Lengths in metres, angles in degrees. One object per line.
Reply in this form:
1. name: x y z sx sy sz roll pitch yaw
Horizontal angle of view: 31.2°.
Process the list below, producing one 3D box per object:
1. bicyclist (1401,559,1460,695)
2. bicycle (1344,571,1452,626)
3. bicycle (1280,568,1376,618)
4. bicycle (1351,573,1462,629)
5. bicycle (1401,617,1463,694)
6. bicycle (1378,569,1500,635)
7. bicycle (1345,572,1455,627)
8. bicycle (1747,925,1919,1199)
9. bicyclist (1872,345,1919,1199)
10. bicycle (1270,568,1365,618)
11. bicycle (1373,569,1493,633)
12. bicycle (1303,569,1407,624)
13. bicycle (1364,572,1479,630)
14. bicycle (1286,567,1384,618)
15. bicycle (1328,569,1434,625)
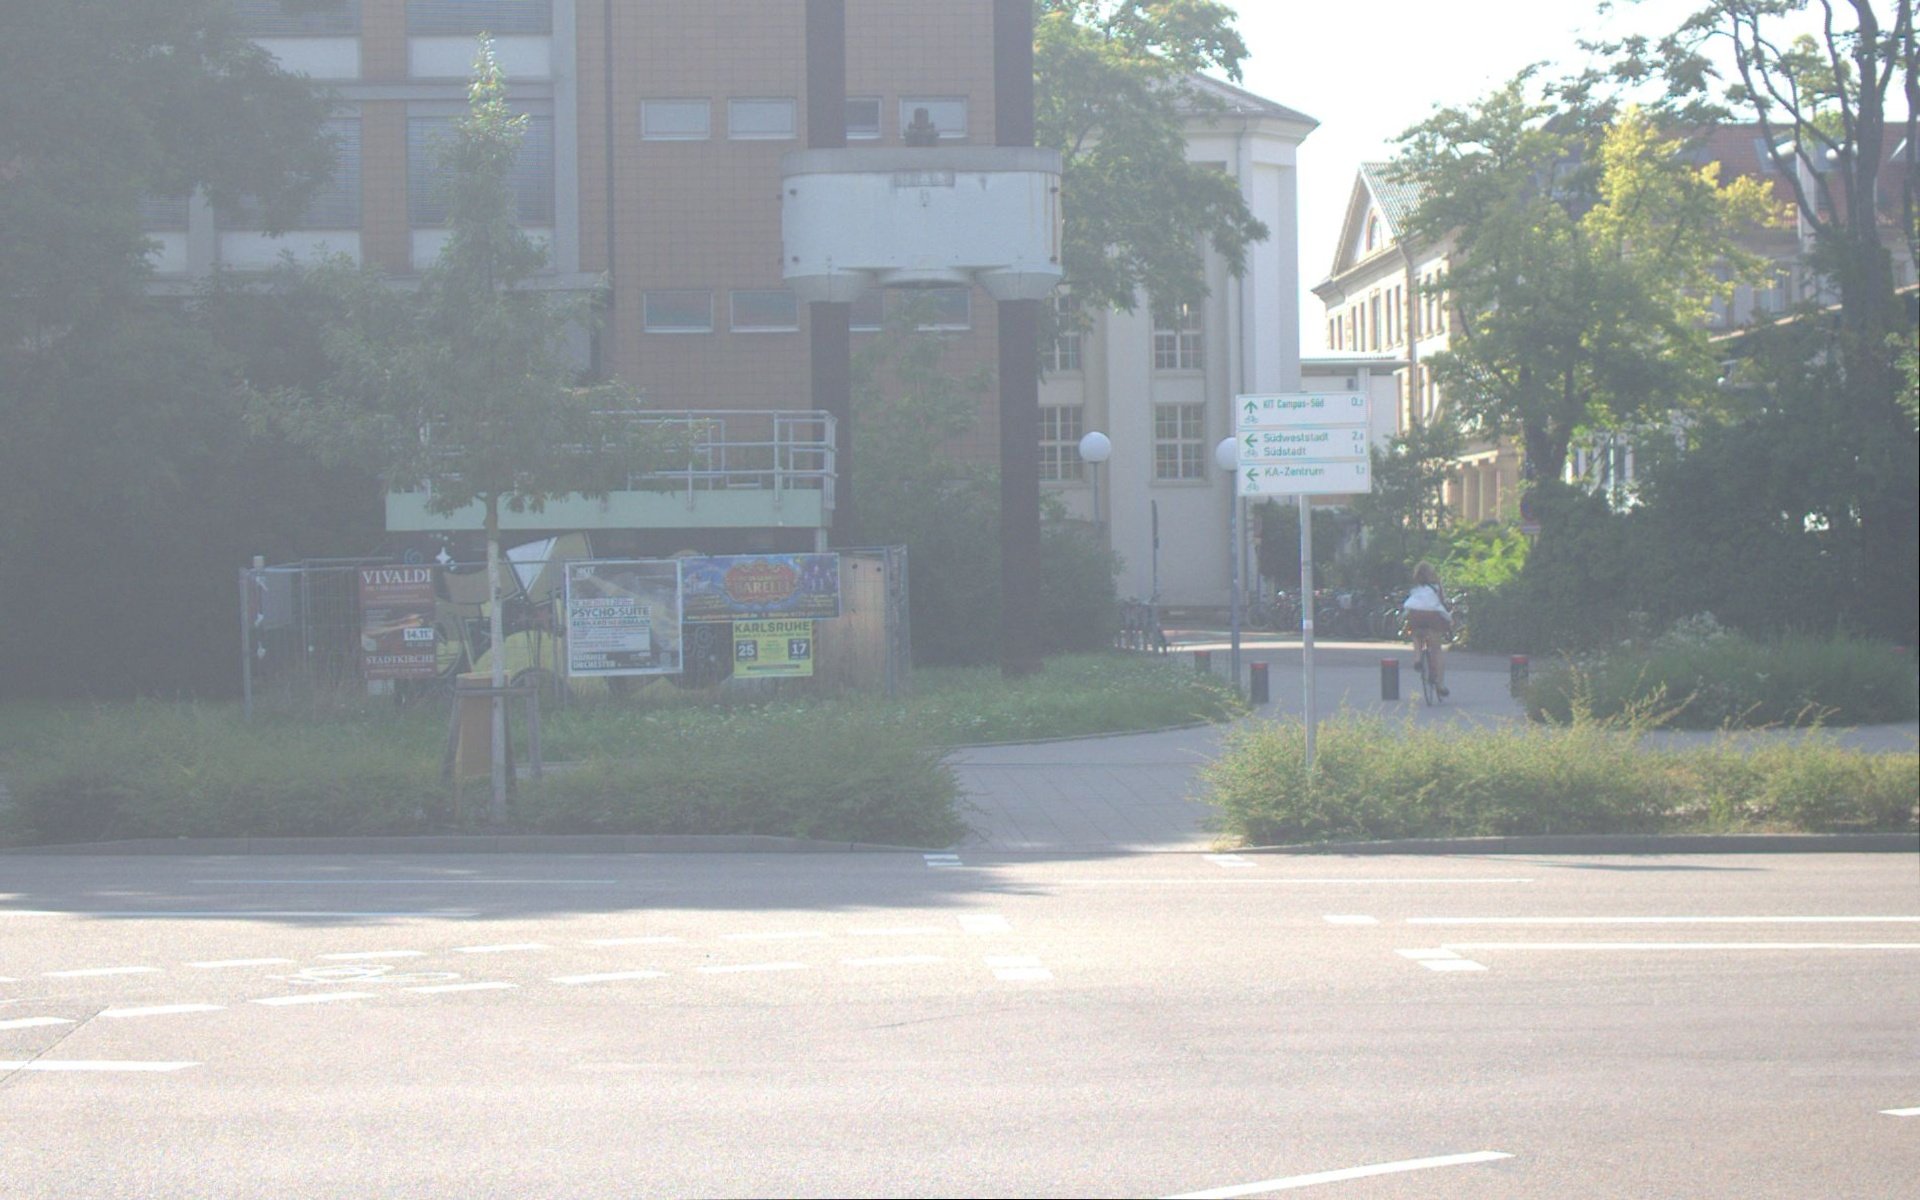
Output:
1. bicyclist: 5.638 0.316 41.222 0.650 1.596 0.919 -1 0 6
2. bicycle: 10.211 -0.044 80.152 2.427 1.225 0.720 1 0 2
3. bicycle: 9.606 -0.189 89.854 2.427 1.258 0.720 1 0 2
4. bicycle: 10.165 0.012 78.248 2.427 1.230 0.720 1 0 2
5. bicycle: 5.642 0.659 41.137 0.673 0.876 1.401 -1 1 5
6. bicycle: 9.942 0.034 71.359 2.427 1.314 0.720 1 0 2
7. bicycle: 10.114 -0.012 79.104 2.427 1.235 0.720 1 0 2
8. bicycle: 1.522 0.932 3.583 0.772 0.972 2.150 -1 1 -4
9. bicyclist: 1.503 0.495 3.581 0.772 1.573 0.990 -1 0 -4
10. bicycle: 9.443 -0.187 90.747 2.427 1.276 0.720 1 0 2
11. bicycle: 9.963 0.014 72.495 2.427 1.314 0.720 1 0 2
12. bicycle: 9.518 -0.087 82.857 2.427 1.277 0.720 1 0 2
13. bicycle: 10.065 0.022 75.036 2.427 1.219 0.720 1 0 2
14. bicycle: 9.607 -0.191 88.077 2.427 1.277 0.720 1 0 2
15. bicycle: 10.002 -0.076 81.737 2.427 1.277 0.720 1 0 2
